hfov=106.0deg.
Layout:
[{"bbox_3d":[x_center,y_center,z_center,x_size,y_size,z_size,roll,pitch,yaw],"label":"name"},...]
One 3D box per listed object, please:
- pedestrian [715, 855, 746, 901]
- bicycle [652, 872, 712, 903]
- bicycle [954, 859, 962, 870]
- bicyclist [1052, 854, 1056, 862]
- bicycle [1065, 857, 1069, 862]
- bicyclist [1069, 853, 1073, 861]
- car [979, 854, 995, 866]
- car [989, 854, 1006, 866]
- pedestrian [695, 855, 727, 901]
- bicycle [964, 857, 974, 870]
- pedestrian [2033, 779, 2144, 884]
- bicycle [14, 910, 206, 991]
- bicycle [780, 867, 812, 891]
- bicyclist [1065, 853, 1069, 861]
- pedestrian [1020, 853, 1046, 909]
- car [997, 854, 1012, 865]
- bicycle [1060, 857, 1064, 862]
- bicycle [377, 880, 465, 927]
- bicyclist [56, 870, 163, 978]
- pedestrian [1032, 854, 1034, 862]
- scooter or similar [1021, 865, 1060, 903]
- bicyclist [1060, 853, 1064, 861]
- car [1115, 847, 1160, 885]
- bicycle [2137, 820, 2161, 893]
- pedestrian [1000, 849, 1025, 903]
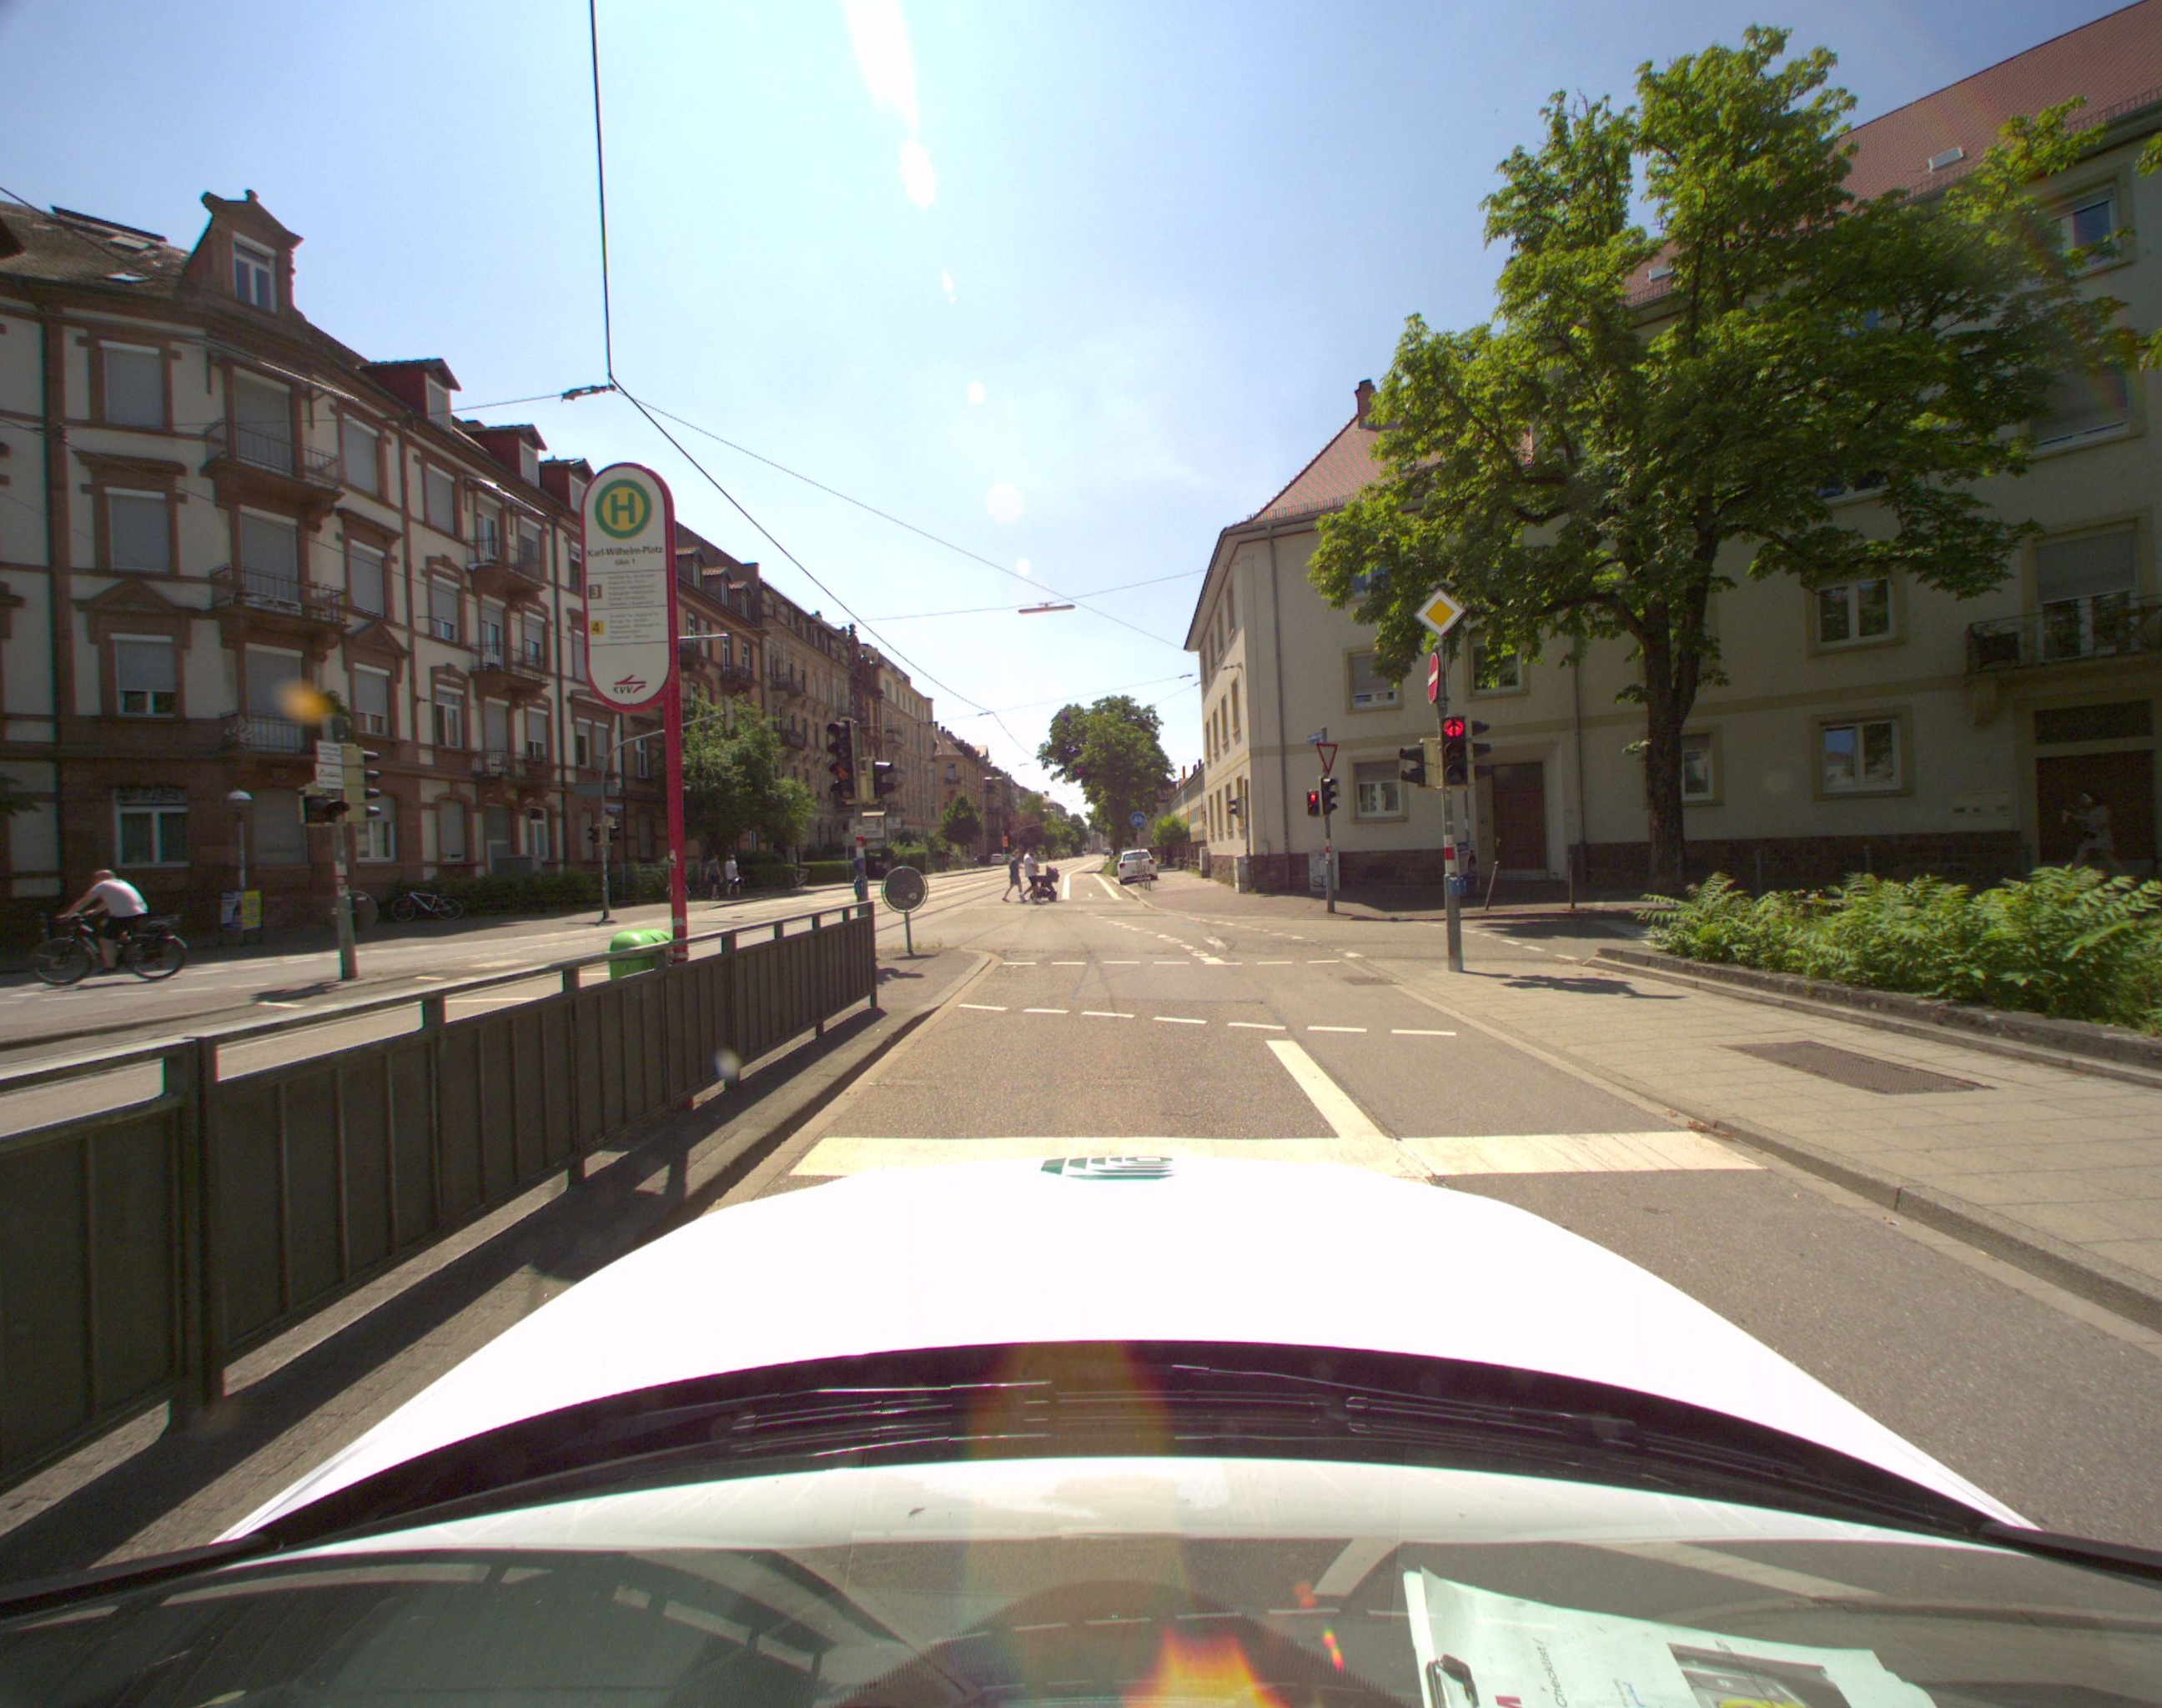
[{"bbox_3d":[-14.110,0.947,32.777,0.812,1.822,0.874,0,1,3],"label":"pedestrian"},{"bbox_3d":[-15.667,1.301,32.078,0.934,1.136,2.774,0,-1,1],"label":"bicycle"},{"bbox_3d":[-12.153,1.031,80.495,0.677,1.064,1.912,-2,0,-9],"label":"bicycle"},{"bbox_3d":[-5.061,0.730,153.597,0.724,1.629,1.080,0,-1,3],"label":"bicyclist"},{"bbox_3d":[-3.369,1.388,196.252,0.724,1.123,2.087,0,-1,4],"label":"bicycle"},{"bbox_3d":[-2.450,0.720,196.164,0.724,1.818,1.080,0,-1,3],"label":"bicyclist"},{"bbox_3d":[-14.333,0.898,124.463,1.912,1.715,4.001,0,-1,2],"label":"car"},{"bbox_3d":[-11.881,0.812,116.061,1.912,1.715,4.001,0,-1,2],"label":"car"},{"bbox_3d":[-14.886,0.958,32.768,0.812,1.822,0.874,0,1,3],"label":"pedestrian"},{"bbox_3d":[-11.709,0.958,85.132,0.675,1.278,1.918,-2,0,-1],"label":"bicycle"},{"bbox_3d":[17.425,-0.378,14.113,1.044,1.690,0.658,-5,3,42],"label":"pedestrian"},{"bbox_3d":[-15.027,1.458,12.676,1.772,1.056,0.693,-1,-1,-30],"label":"bicycle"},{"bbox_3d":[-14.402,1.256,41.251,0.936,1.136,2.767,0,-1,-7],"label":"bicycle"},{"bbox_3d":[-3.369,0.767,196.245,0.724,1.818,1.080,0,-1,3],"label":"bicyclist"},{"bbox_3d":[-1.434,0.808,24.373,0.671,1.645,0.560,0,-1,7],"label":"pedestrian"},{"bbox_3d":[-11.661,0.877,124.325,1.912,1.715,4.001,0,-1,2],"label":"car"},{"bbox_3d":[-4.171,1.245,177.183,0.724,1.123,2.087,0,-1,4],"label":"bicycle"},{"bbox_3d":[-19.552,1.439,24.156,0.557,1.294,1.975,-1,-1,43],"label":"bicycle"},{"bbox_3d":[-15.065,1.056,12.657,0.852,1.592,0.693,-1,-1,-30],"label":"bicyclist"},{"bbox_3d":[-8.350,0.669,141.621,0.404,1.461,0.436,-2,0,1],"label":"pedestrian"},{"bbox_3d":[-1.272,0.923,25.515,1.200,1.155,0.557,0,-1,-7],"label":"scooter or similar"},{"bbox_3d":[-4.171,0.619,177.223,0.724,1.768,1.080,0,-1,3],"label":"bicyclist"},{"bbox_3d":[2.528,0.532,37.415,1.808,1.516,4.001,-4,-1,2],"label":"car"},{"bbox_3d":[17.014,0.022,12.081,0.527,1.104,1.589,-2,0,-34],"label":"bicycle"},{"bbox_3d":[-2.119,0.683,25.286,0.671,1.645,0.560,0,-1,7],"label":"pedestrian"}]
